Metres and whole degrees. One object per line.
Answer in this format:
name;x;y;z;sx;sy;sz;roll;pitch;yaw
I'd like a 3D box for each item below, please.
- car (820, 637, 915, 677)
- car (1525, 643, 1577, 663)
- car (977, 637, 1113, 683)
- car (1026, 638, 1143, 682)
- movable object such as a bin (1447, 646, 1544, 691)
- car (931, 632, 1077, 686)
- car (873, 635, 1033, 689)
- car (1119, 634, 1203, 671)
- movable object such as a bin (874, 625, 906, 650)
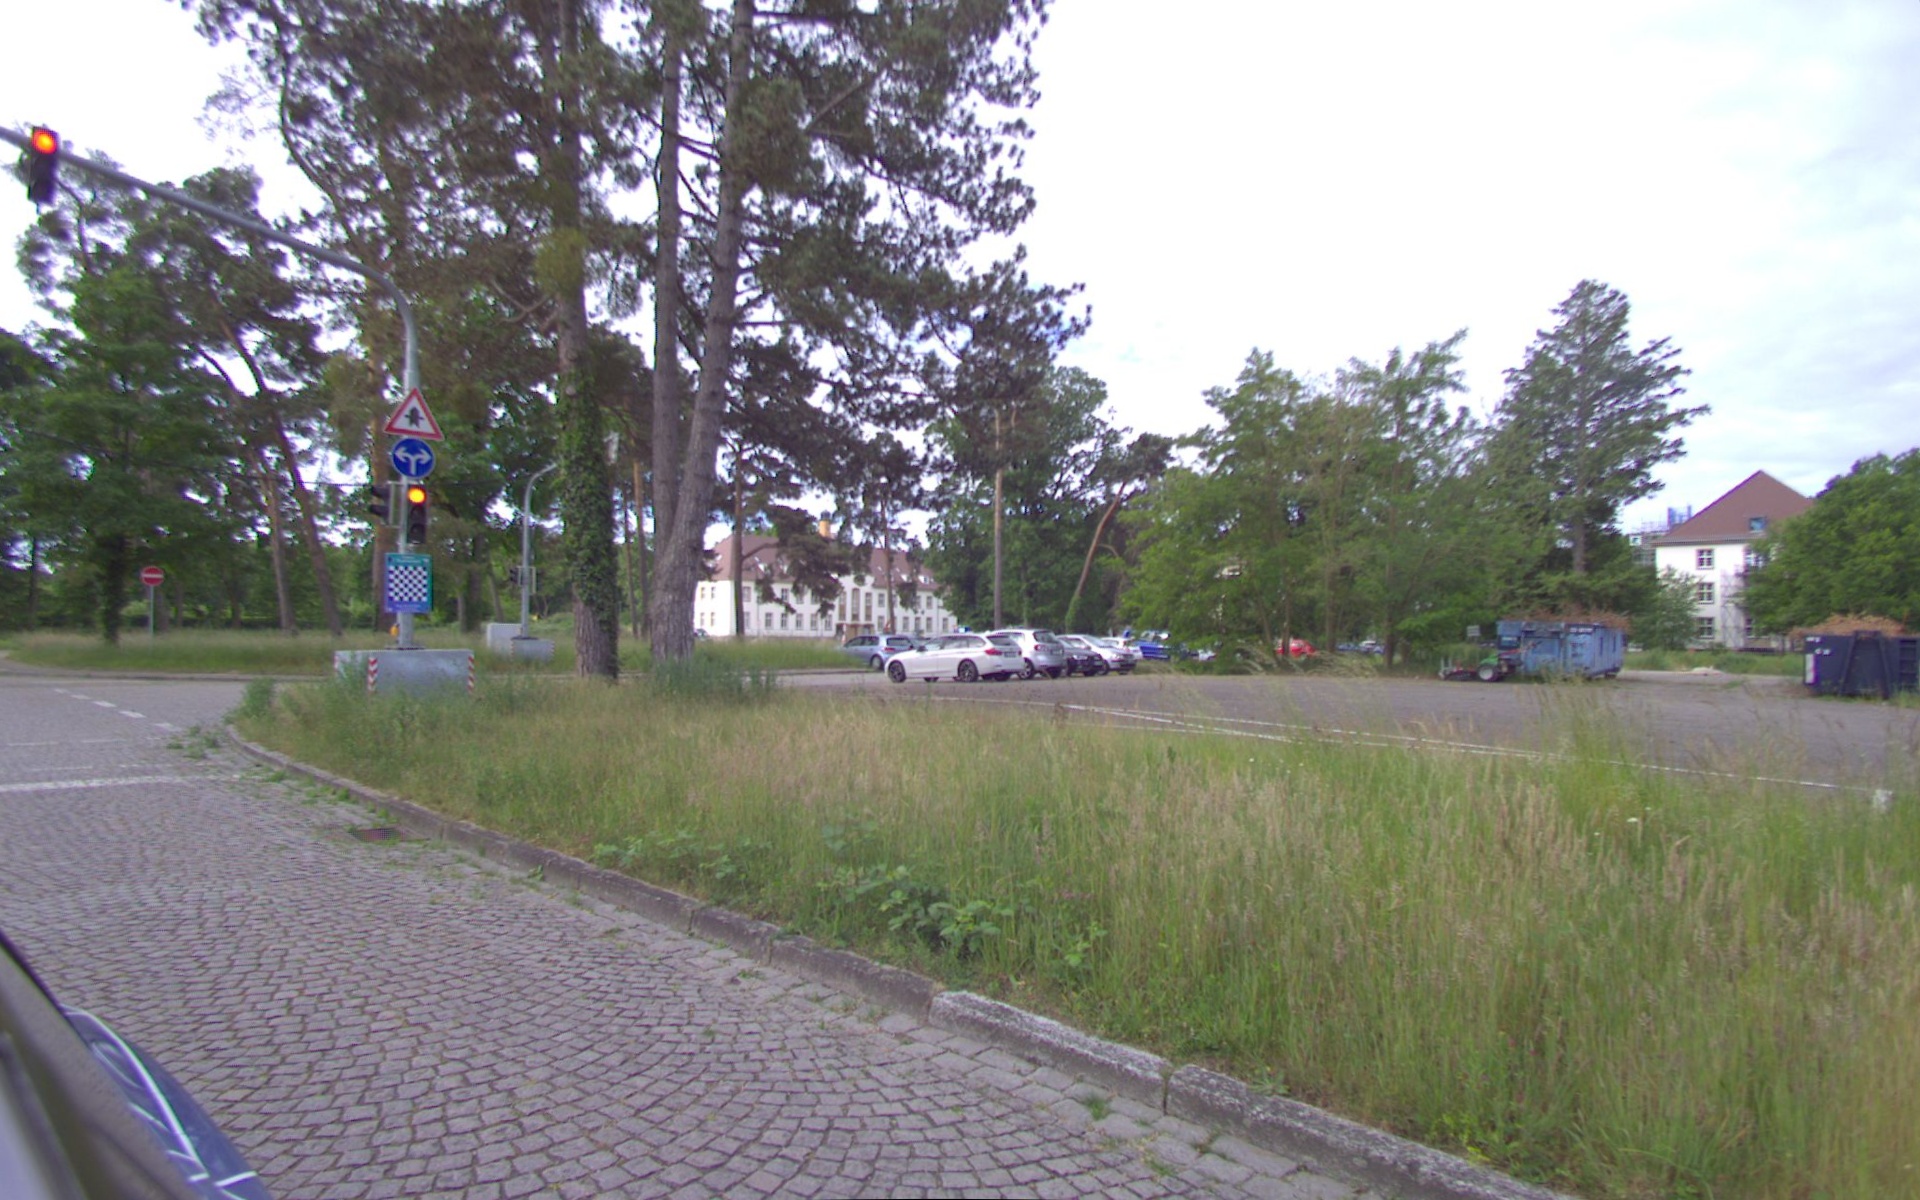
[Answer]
car;-3.950;2.393;42.902;4.013;1.439;1.674;2;-1;42
car;69.201;6.237;118.543;5.148;2.165;1.751;0;-2;40
car;2.815;2.057;34.306;4.446;1.435;1.699;-5;-5;41
car;4.435;2.173;36.397;3.959;1.482;1.564;-5;-5;40
movable object such as a bin;14.934;1.892;28.280;2.268;1.134;0.847;0;-2;41
car;1.357;1.888;32.111;4.369;1.610;1.849;-3;-4;37
car;-0.276;1.867;30.191;4.751;1.499;1.841;-4;-5;40
car;11.935;3.100;60.250;4.608;2.021;1.884;0;-2;45
movable object such as a bin;-11.079;5.965;160.675;2.022;3.799;5.468;2;-4;-43
